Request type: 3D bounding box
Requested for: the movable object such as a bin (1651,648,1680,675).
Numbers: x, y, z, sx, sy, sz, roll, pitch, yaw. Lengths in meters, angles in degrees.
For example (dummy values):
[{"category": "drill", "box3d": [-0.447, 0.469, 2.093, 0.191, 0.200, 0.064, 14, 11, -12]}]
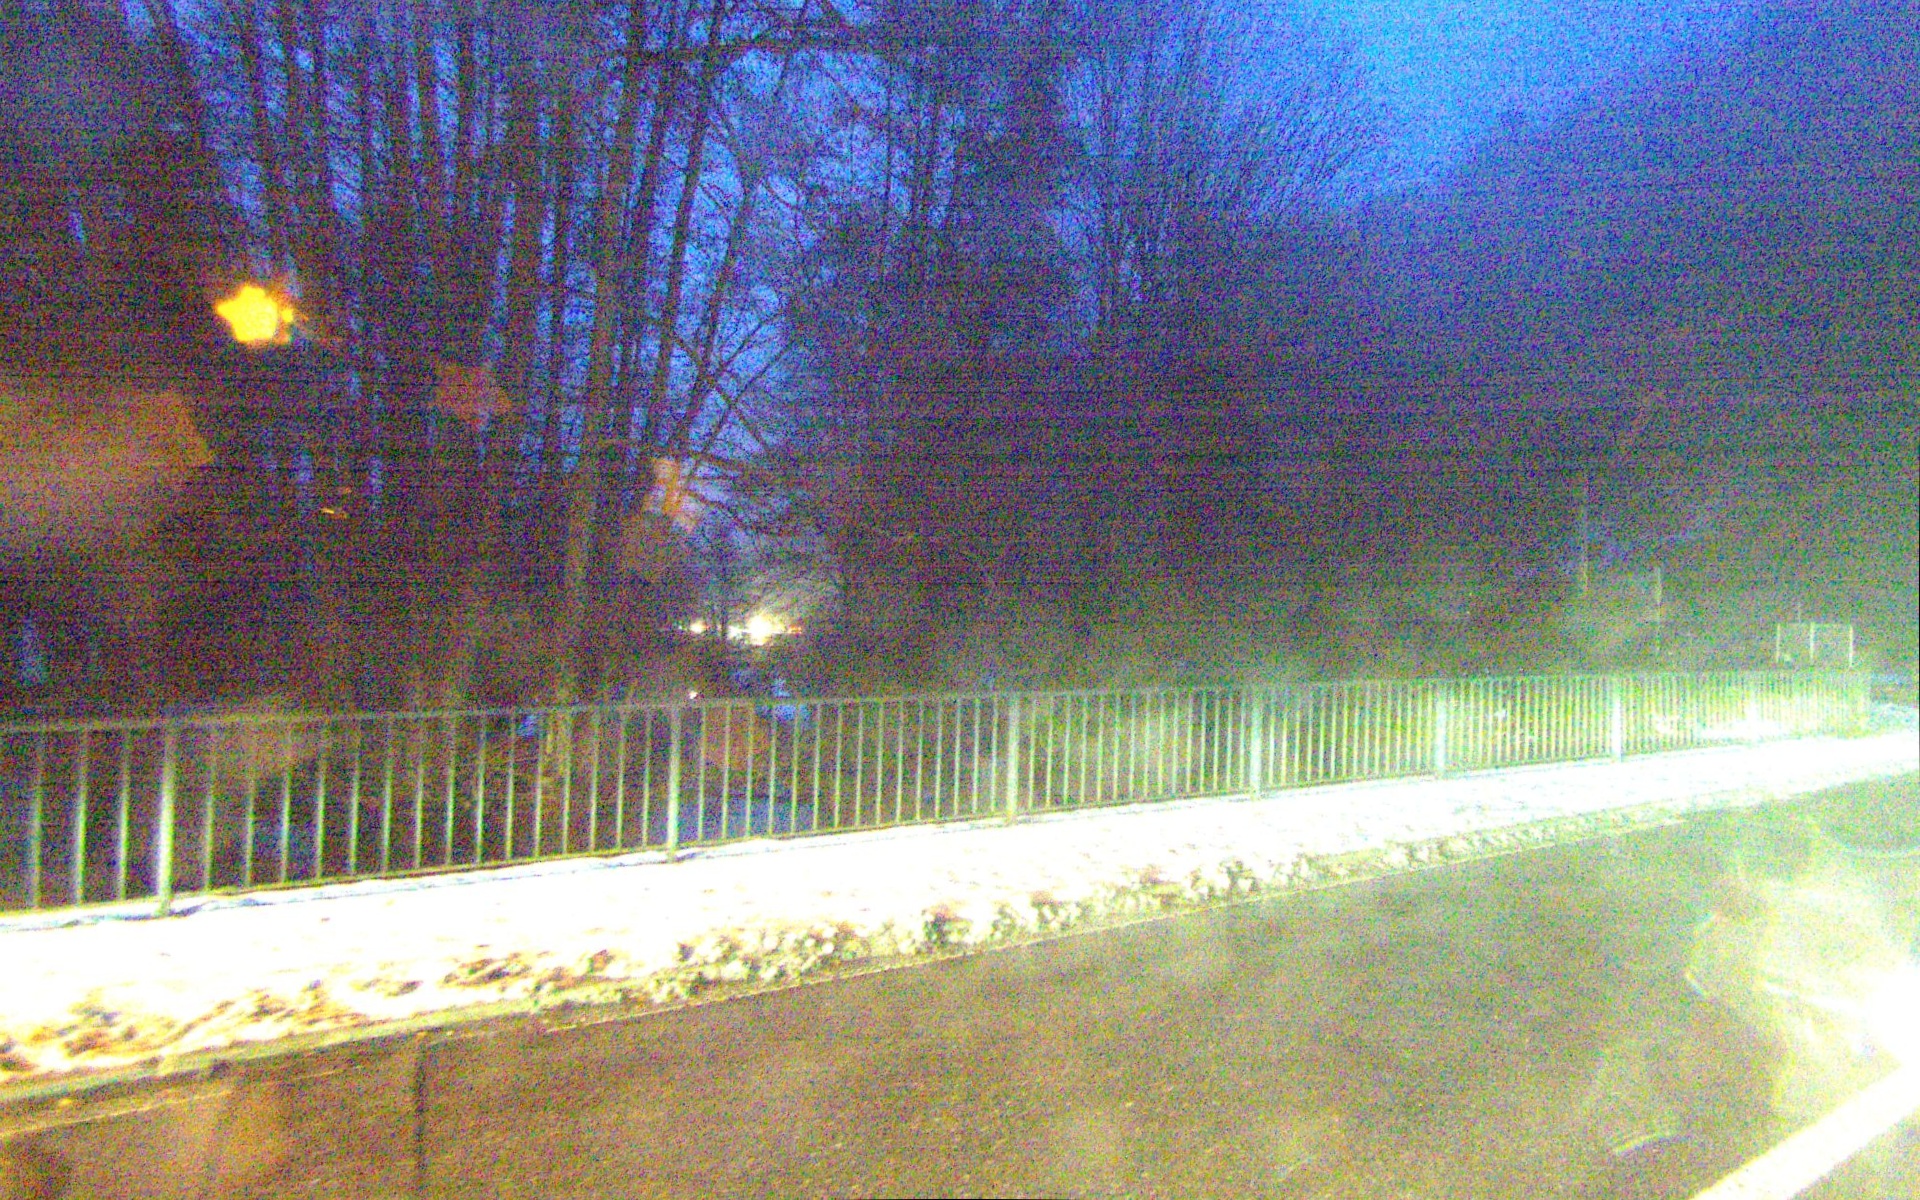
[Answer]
[{"category": "movable object such as a bin", "box3d": [36.839, 3.221, 52.432, 1.212, 1.342, 1.149, -1, -1, 36]}]
